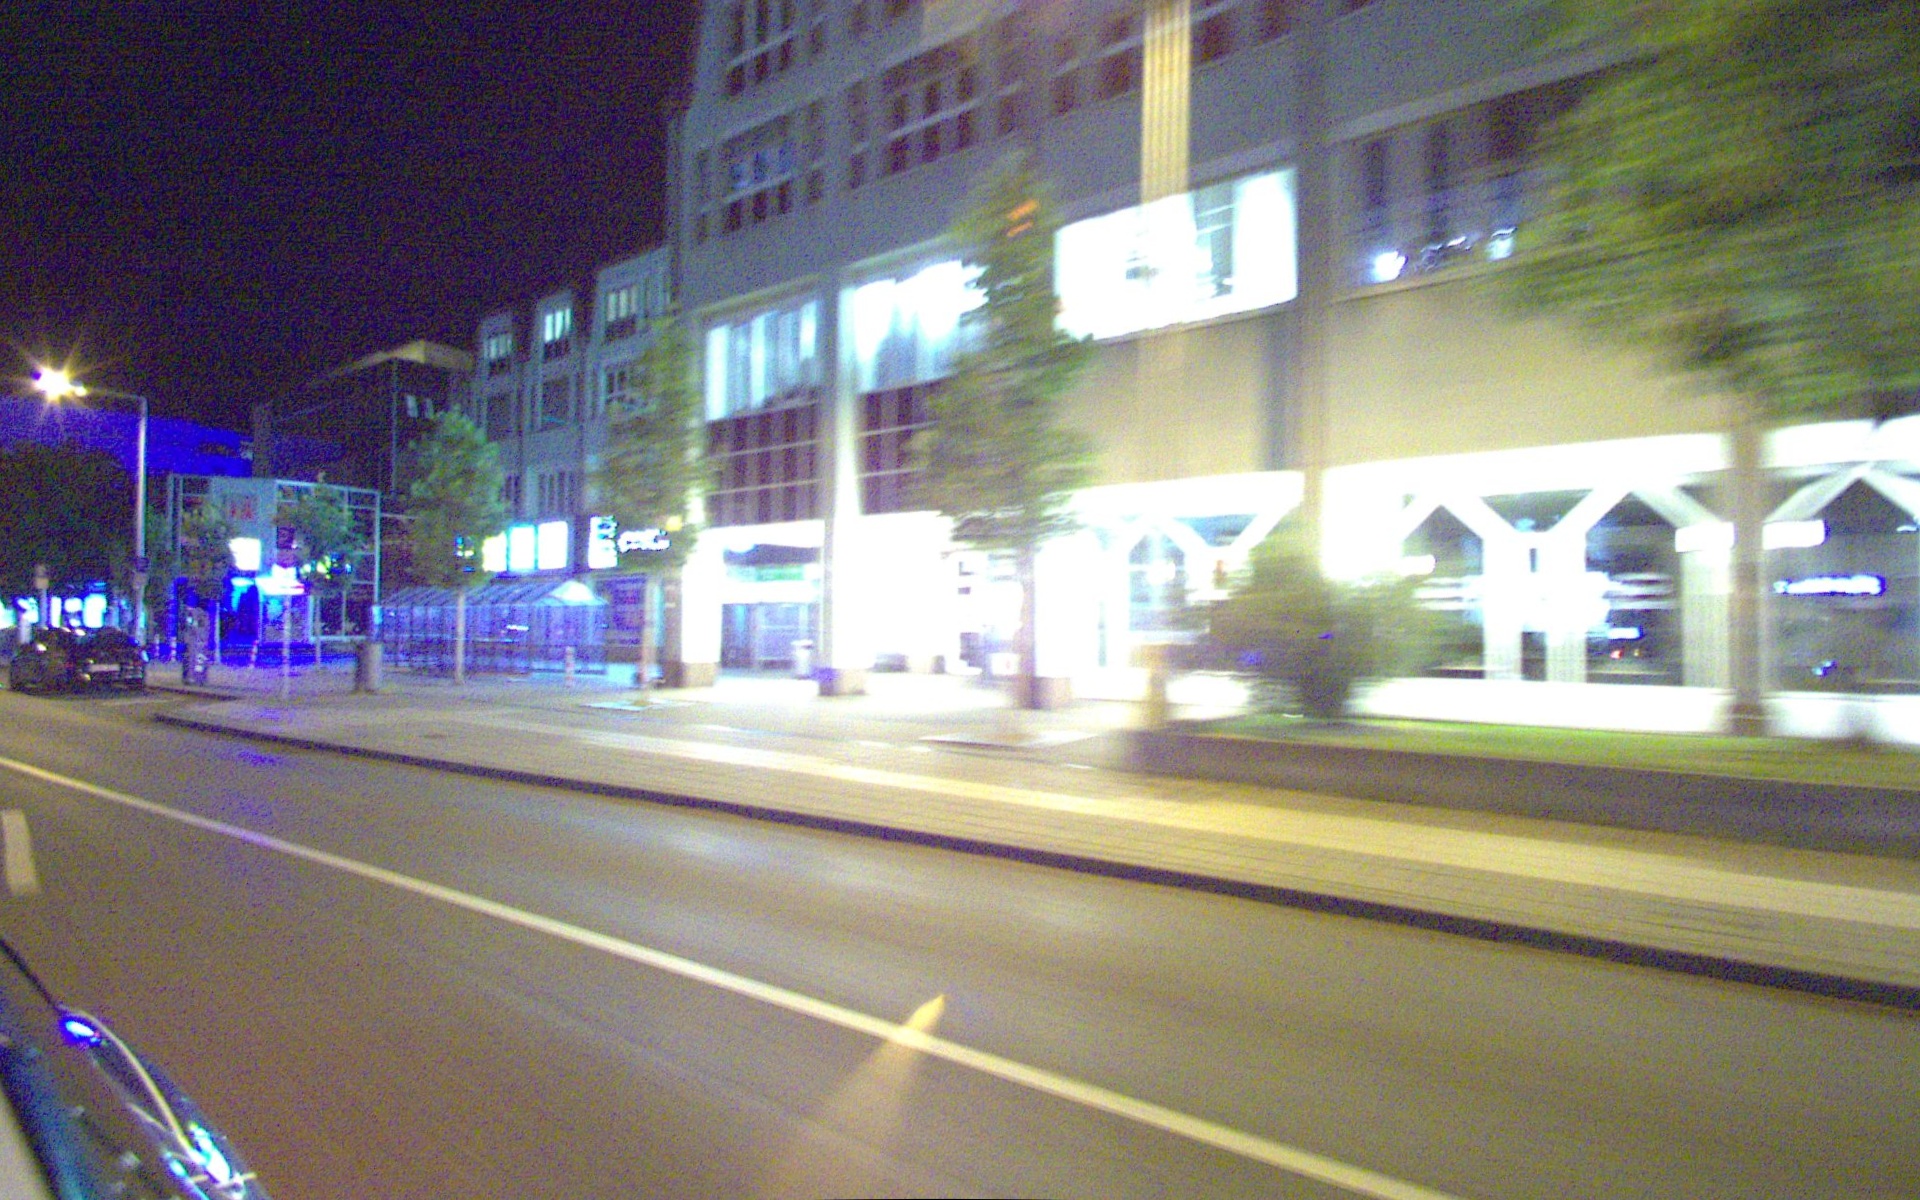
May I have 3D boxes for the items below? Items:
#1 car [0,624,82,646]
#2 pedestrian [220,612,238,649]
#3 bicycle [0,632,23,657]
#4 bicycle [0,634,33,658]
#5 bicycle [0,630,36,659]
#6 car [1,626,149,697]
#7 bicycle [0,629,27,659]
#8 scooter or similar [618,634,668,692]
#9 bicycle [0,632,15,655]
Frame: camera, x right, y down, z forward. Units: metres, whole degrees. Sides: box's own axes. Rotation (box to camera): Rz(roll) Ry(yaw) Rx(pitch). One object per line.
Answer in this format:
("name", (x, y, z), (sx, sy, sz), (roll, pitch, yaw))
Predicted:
("car", (-61.052, 2.311, 66.889), (1.800, 1.408, 4.289), (-1, -2, 36))
("pedestrian", (-32.799, 1.367, 45.425), (0.631, 1.649, 0.473), (-1, -3, 38))
("bicycle", (-41.082, 1.885, 42.991), (0.532, 1.043, 1.834), (-1, -1, 37))
("bicycle", (-39.760, 1.904, 41.979), (0.501, 0.975, 1.833), (-1, -3, 37))
("bicycle", (-39.324, 1.816, 41.661), (0.532, 1.175, 1.833), (-1, -3, 37))
("car", (-20.028, 1.321, 22.838), (4.489, 1.424, 1.724), (-1, -1, 38))
("bicycle", (-40.552, 1.857, 42.571), (0.532, 1.263, 1.833), (-1, -3, 37))
("scooter or similar", (-7.016, 1.383, 22.401), (1.343, 1.230, 0.383), (-1, -3, 40))
("bicycle", (-41.890, 1.888, 43.455), (0.532, 1.007, 1.834), (-1, 0, 37))
